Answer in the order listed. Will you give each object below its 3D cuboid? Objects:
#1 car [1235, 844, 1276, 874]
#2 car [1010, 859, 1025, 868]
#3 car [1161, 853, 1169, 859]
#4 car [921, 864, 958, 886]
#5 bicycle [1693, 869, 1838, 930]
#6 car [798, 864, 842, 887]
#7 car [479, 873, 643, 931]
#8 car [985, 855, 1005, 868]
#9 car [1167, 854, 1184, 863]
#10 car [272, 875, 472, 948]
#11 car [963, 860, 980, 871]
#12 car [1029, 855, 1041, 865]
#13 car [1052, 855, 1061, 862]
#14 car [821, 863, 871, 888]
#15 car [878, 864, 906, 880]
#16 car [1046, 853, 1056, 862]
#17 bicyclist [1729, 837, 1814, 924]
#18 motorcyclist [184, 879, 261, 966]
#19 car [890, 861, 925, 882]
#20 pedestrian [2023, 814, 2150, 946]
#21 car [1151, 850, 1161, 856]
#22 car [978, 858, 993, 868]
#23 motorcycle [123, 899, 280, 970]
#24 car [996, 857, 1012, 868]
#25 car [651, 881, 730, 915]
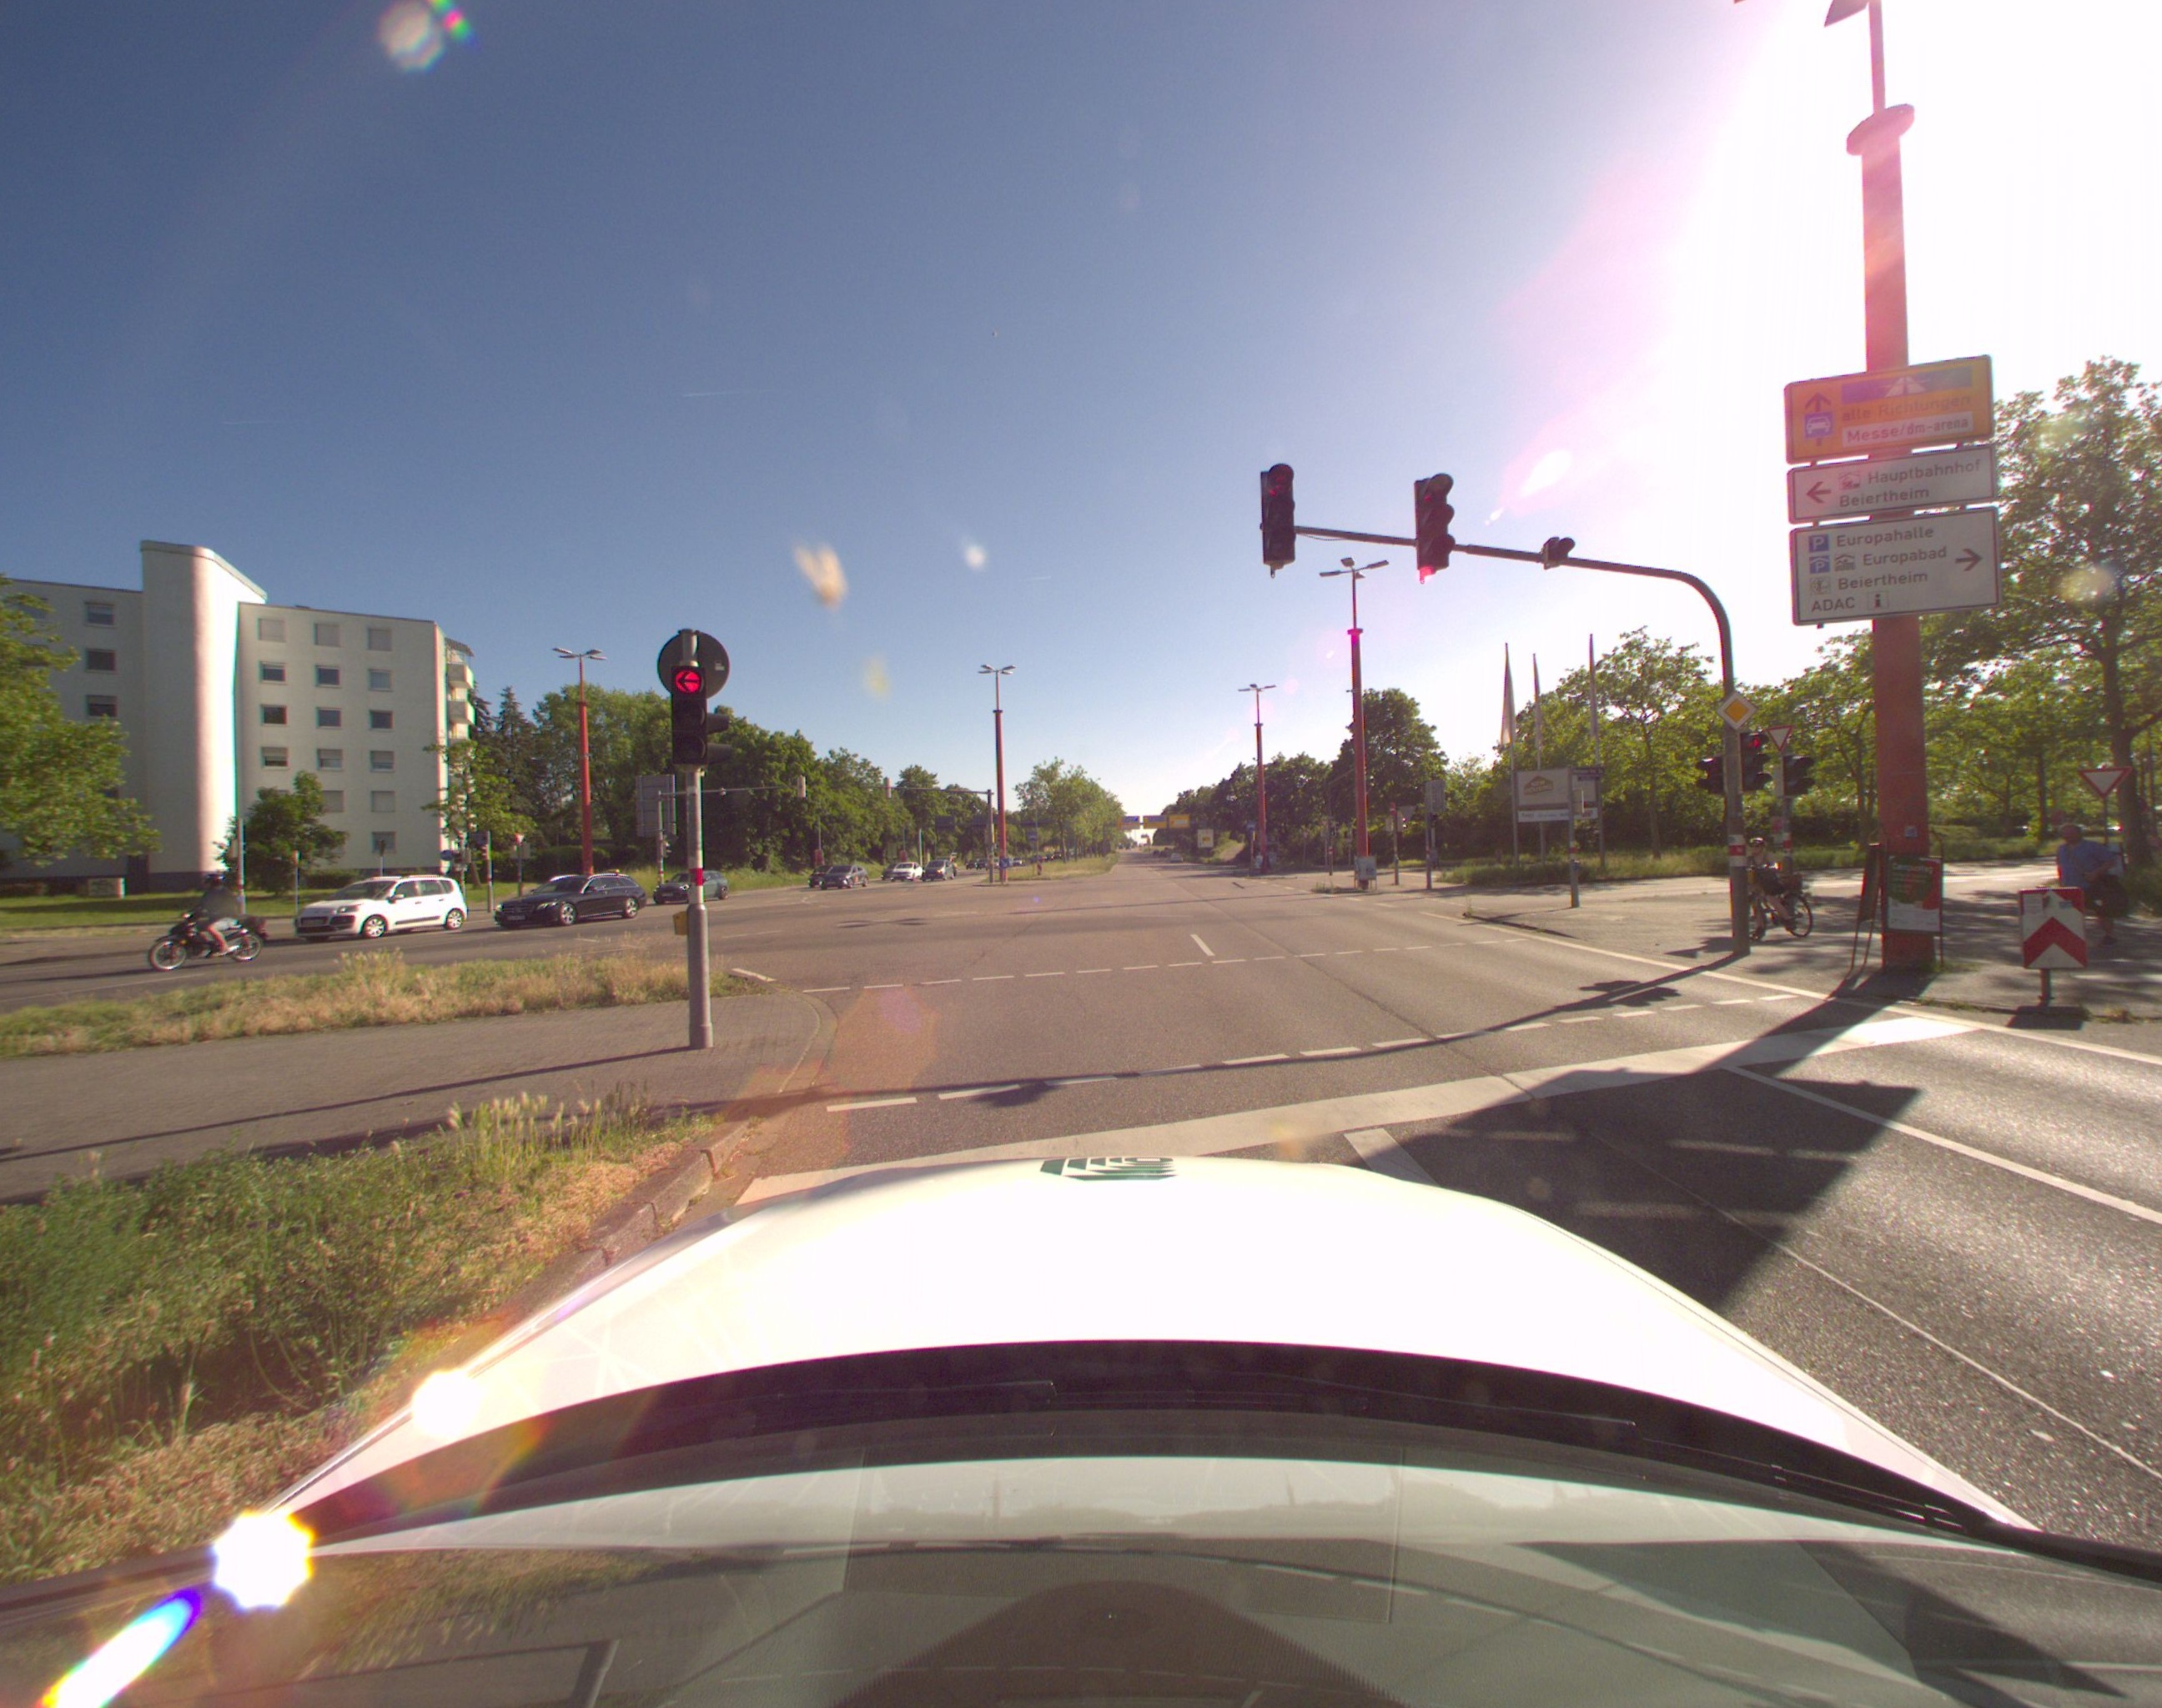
[{"bbox_3d":[11.571,0.316,53.711,1.976,1.887,4.021,-2,0,21],"label":"car"},{"bbox_3d":[-9.743,1.432,124.891,1.997,1.308,4.000,-2,0,0],"label":"car"},{"bbox_3d":[19.107,0.479,185.680,1.730,1.341,3.084,-2,0,3],"label":"car"},{"bbox_3d":[-10.136,1.479,58.509,1.693,1.421,4.003,1,-1,3],"label":"car"},{"bbox_3d":[11.042,0.715,13.148,2.163,0.878,0.557,-2,0,-12],"label":"bicycle"},{"bbox_3d":[-18.264,1.487,57.073,1.537,1.433,3.889,-3,-1,3],"label":"car"},{"bbox_3d":[-15.431,1.372,24.516,1.869,1.485,4.607,-1,-1,2],"label":"car"},{"bbox_3d":[-10.689,0.927,101.264,1.696,1.596,4.004,-1,-1,4],"label":"car"},{"bbox_3d":[14.830,0.666,127.918,2.048,1.371,4.390,-2,0,-1],"label":"car"},{"bbox_3d":[-19.379,1.497,22.535,1.793,1.707,4.063,-2,-1,3],"label":"car"},{"bbox_3d":[-17.023,1.729,126.560,1.986,1.638,4.001,-1,-1,2],"label":"car"},{"bbox_3d":[-8.268,1.079,146.769,1.618,1.739,4.004,-2,0,4],"label":"car"},{"bbox_3d":[-5.535,1.018,185.267,1.600,1.730,3.793,-1,-1,4],"label":"car"},{"bbox_3d":[-14.075,1.266,48.969,1.542,1.377,4.265,-2,0,3],"label":"car"},{"bbox_3d":[-16.294,1.527,70.448,1.448,1.273,3.614,-1,-1,2],"label":"car"},{"bbox_3d":[-6.045,0.710,164.039,1.649,1.747,4.005,-1,-1,4],"label":"car"},{"bbox_3d":[11.077,0.417,13.084,0.739,1.341,0.705,-2,0,-9],"label":"bicyclist"},{"bbox_3d":[-16.256,1.285,15.439,0.830,1.599,0.642,-1,-1,10],"label":"motorcyclist"},{"bbox_3d":[-13.223,1.303,62.207,1.598,1.459,3.954,-2,0,4],"label":"car"},{"bbox_3d":[14.318,0.344,11.617,0.894,1.788,0.894,-1,0,-20],"label":"pedestrian"},{"bbox_3d":[19.369,-0.180,209.480,1.990,1.496,3.994,-2,0,-4],"label":"car"},{"bbox_3d":[-13.566,1.272,116.095,1.622,1.450,3.437,-1,-1,3],"label":"car"},{"bbox_3d":[-16.368,1.456,15.245,0.418,1.131,2.101,-1,-1,10],"label":"motorcycle"},{"bbox_3d":[-10.667,1.174,112.935,1.696,1.558,3.807,-1,-1,4],"label":"car"},{"bbox_3d":[-17.982,1.998,37.694,1.424,1.388,4.144,-1,-1,4],"label":"car"}]
